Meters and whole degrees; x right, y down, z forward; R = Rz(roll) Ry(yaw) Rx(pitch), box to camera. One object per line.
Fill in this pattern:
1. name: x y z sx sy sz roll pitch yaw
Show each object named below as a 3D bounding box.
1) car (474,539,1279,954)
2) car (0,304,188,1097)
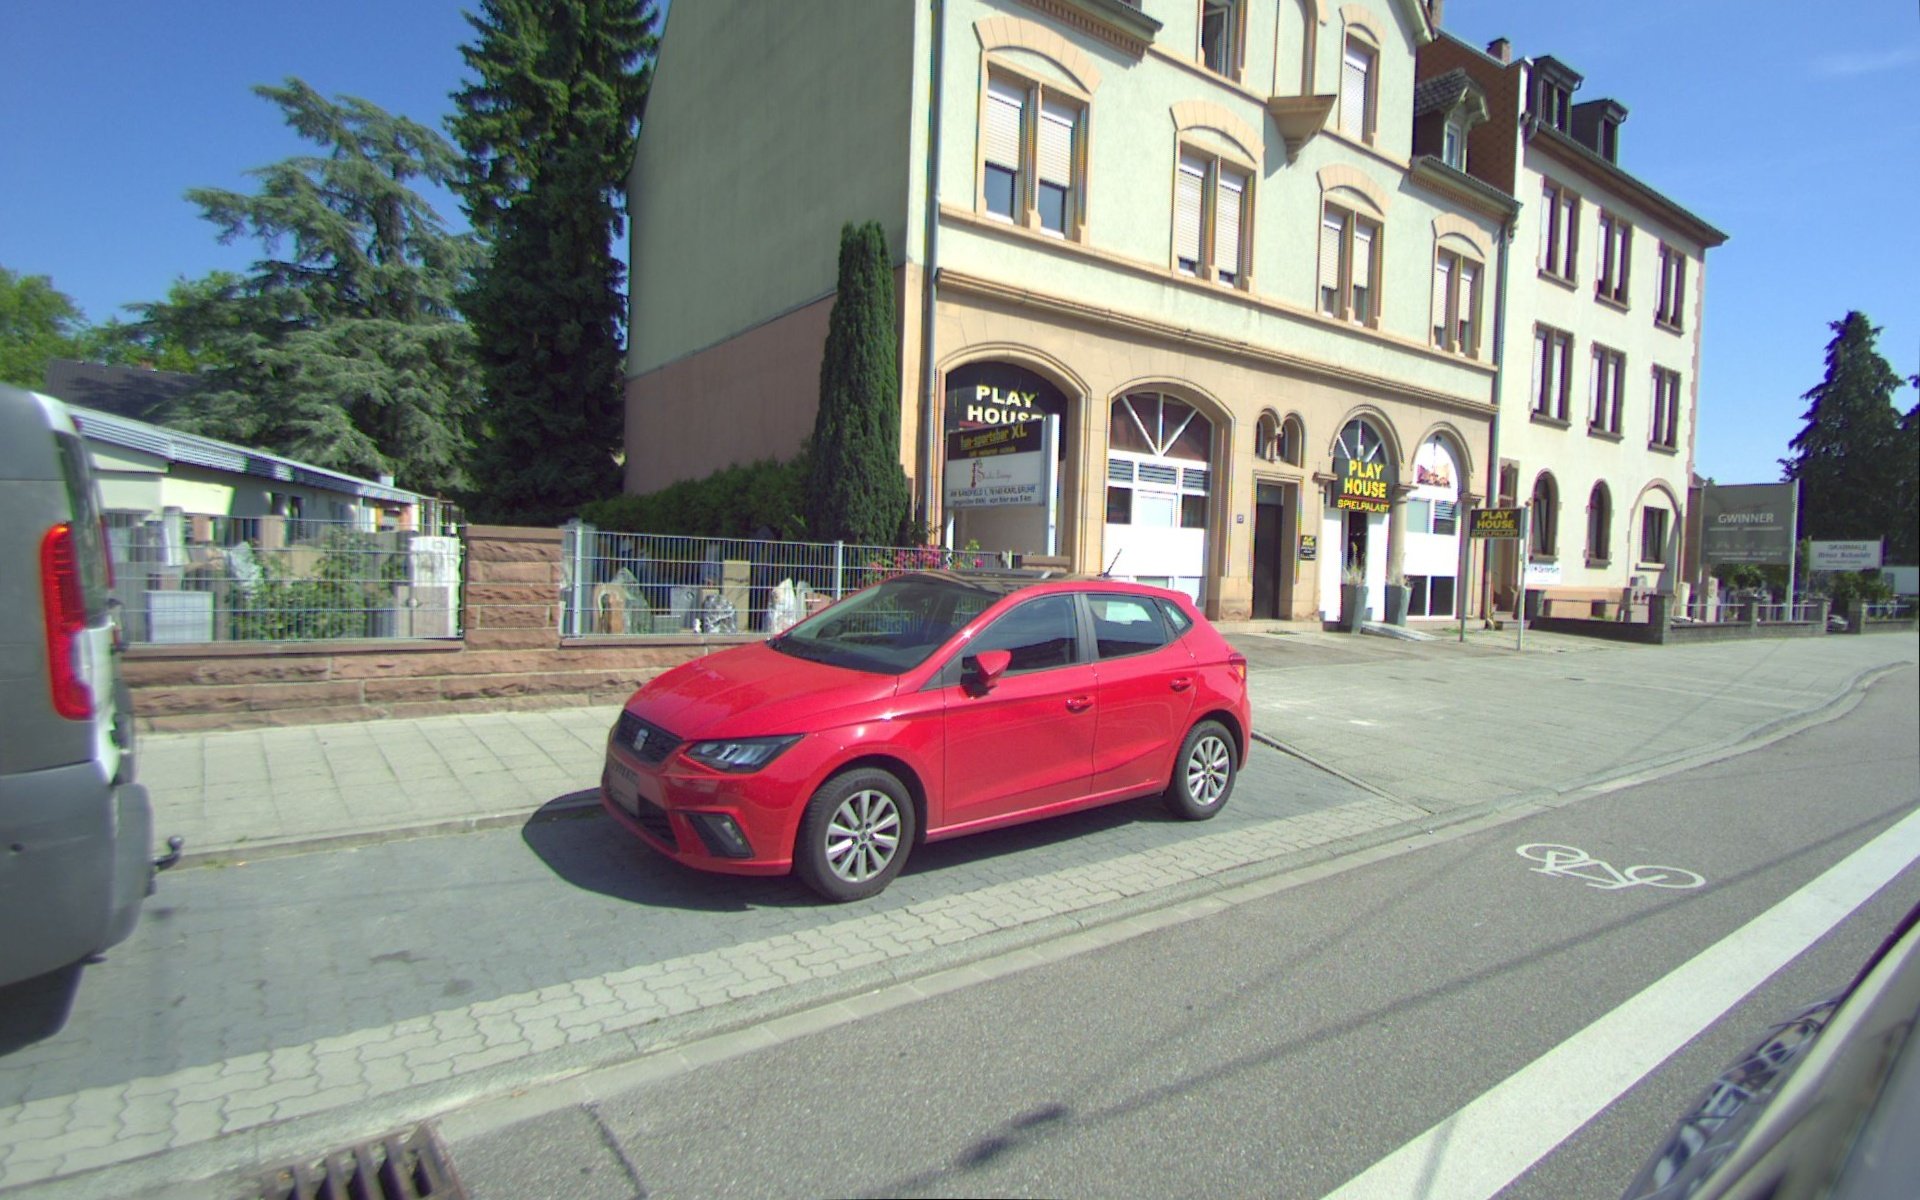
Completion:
1. car: -0.219 0.496 5.677 4.234 1.460 1.727 0 4 -39
2. car: -4.802 0.168 2.030 5.097 2.079 1.982 1 3 -39
